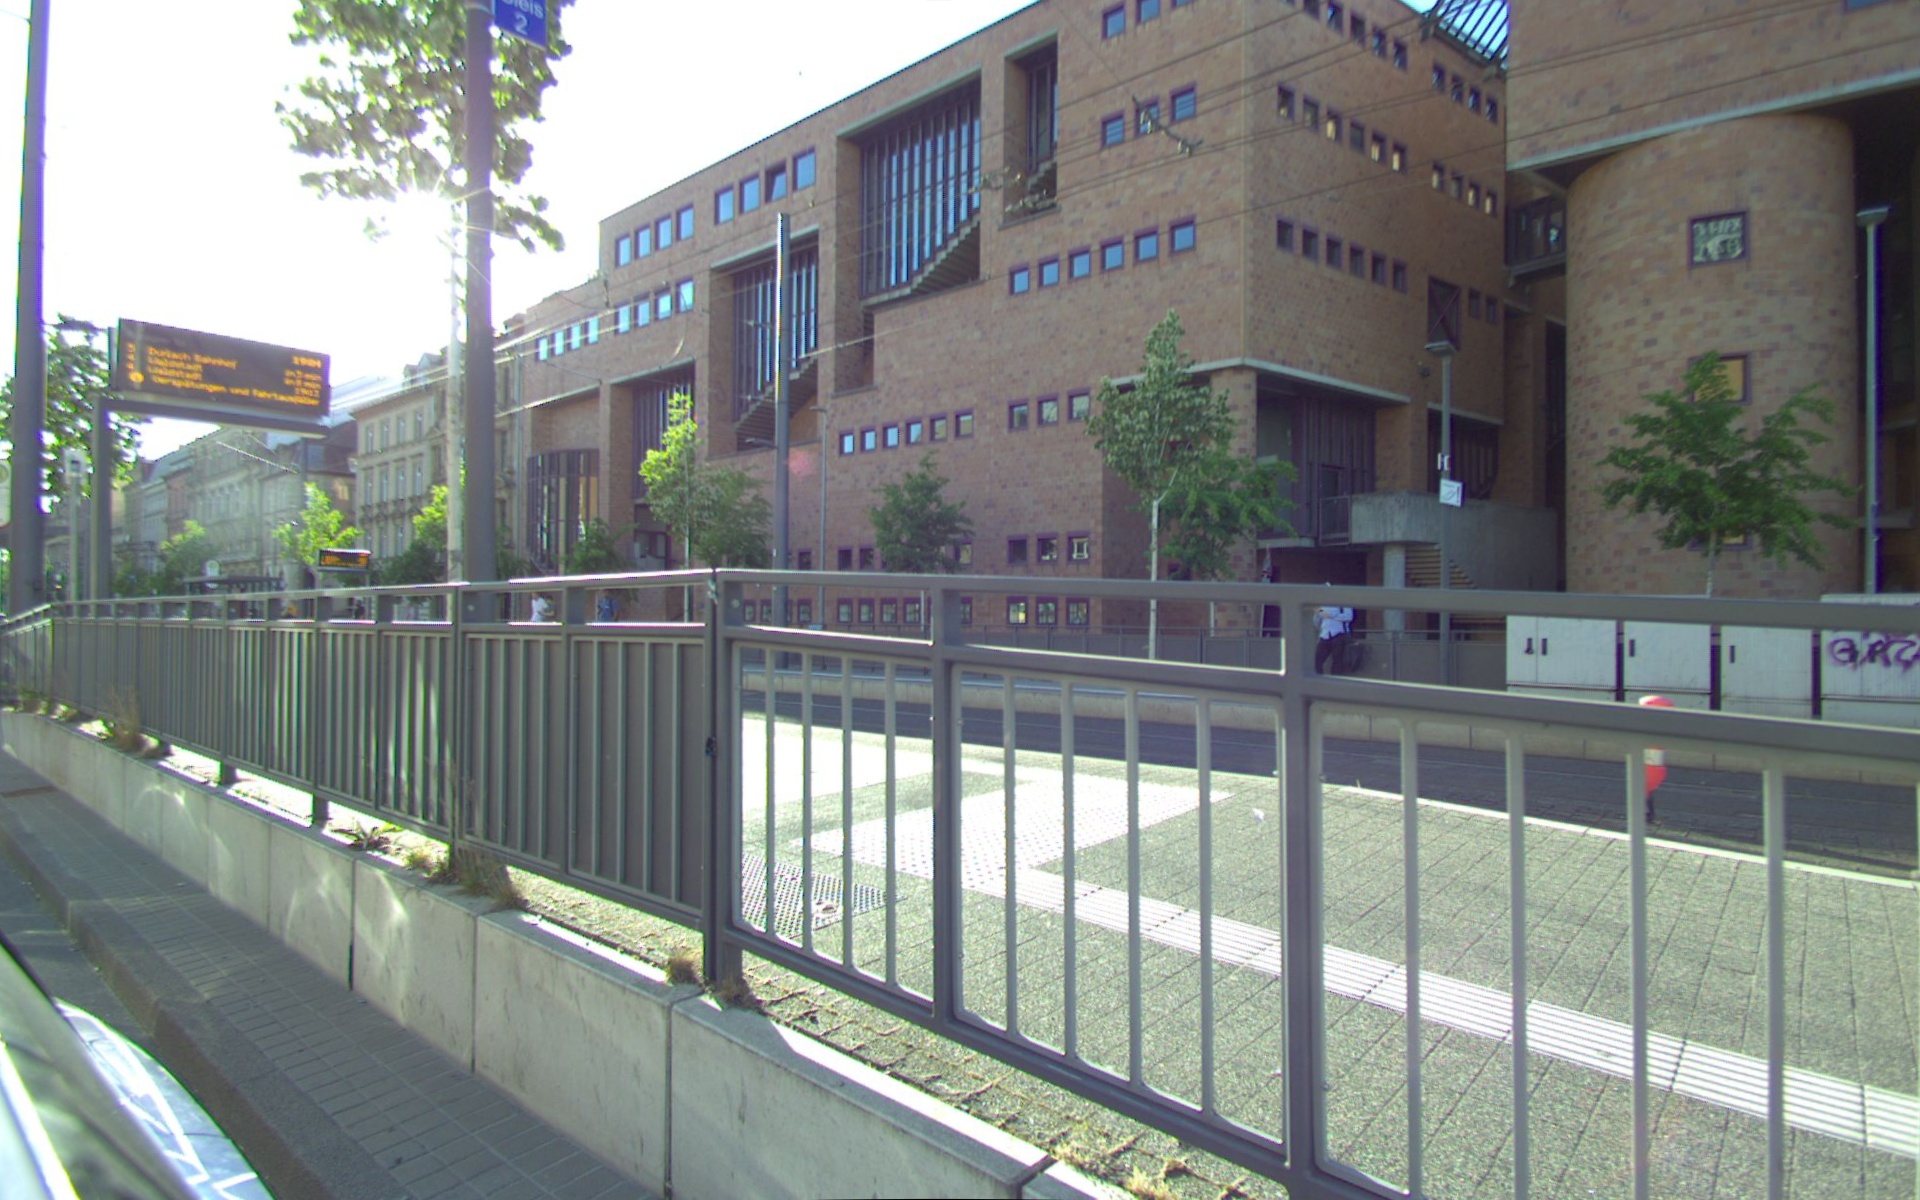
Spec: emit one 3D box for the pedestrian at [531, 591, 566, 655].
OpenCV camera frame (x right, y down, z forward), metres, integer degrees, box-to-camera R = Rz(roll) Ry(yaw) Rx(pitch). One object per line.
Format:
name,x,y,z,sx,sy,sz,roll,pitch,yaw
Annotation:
pedestrian,-11.333,0.634,27.893,0.586,1.755,0.684,-1,-2,38

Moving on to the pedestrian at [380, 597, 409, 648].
pedestrian,-19.413,0.771,34.720,0.586,1.755,0.684,-1,-2,38

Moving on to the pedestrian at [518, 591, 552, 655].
pedestrian,-11.895,0.638,28.314,0.586,1.755,0.684,-1,-2,38

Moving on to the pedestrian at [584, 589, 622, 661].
pedestrian,-8.799,0.615,24.958,0.586,1.755,0.684,-1,-2,38

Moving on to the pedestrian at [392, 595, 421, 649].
pedestrian,-18.419,0.736,33.675,0.586,1.755,0.684,-1,-2,38

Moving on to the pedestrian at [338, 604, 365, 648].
pedestrian,-22.344,0.960,37.148,0.586,1.587,0.684,-1,-2,38

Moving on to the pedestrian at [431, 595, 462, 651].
pedestrian,-16.217,0.717,31.953,0.586,1.755,0.684,-1,-2,38

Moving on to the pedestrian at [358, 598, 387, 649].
pedestrian,-20.574,0.811,35.455,0.586,1.755,0.684,-1,-2,38

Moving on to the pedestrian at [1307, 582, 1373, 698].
pedestrian,5.218,0.538,13.893,0.653,1.546,0.693,-1,-2,38

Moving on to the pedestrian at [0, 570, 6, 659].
pedestrian,-22.346,0.330,23.060,0.880,2.029,0.774,-1,-2,42
